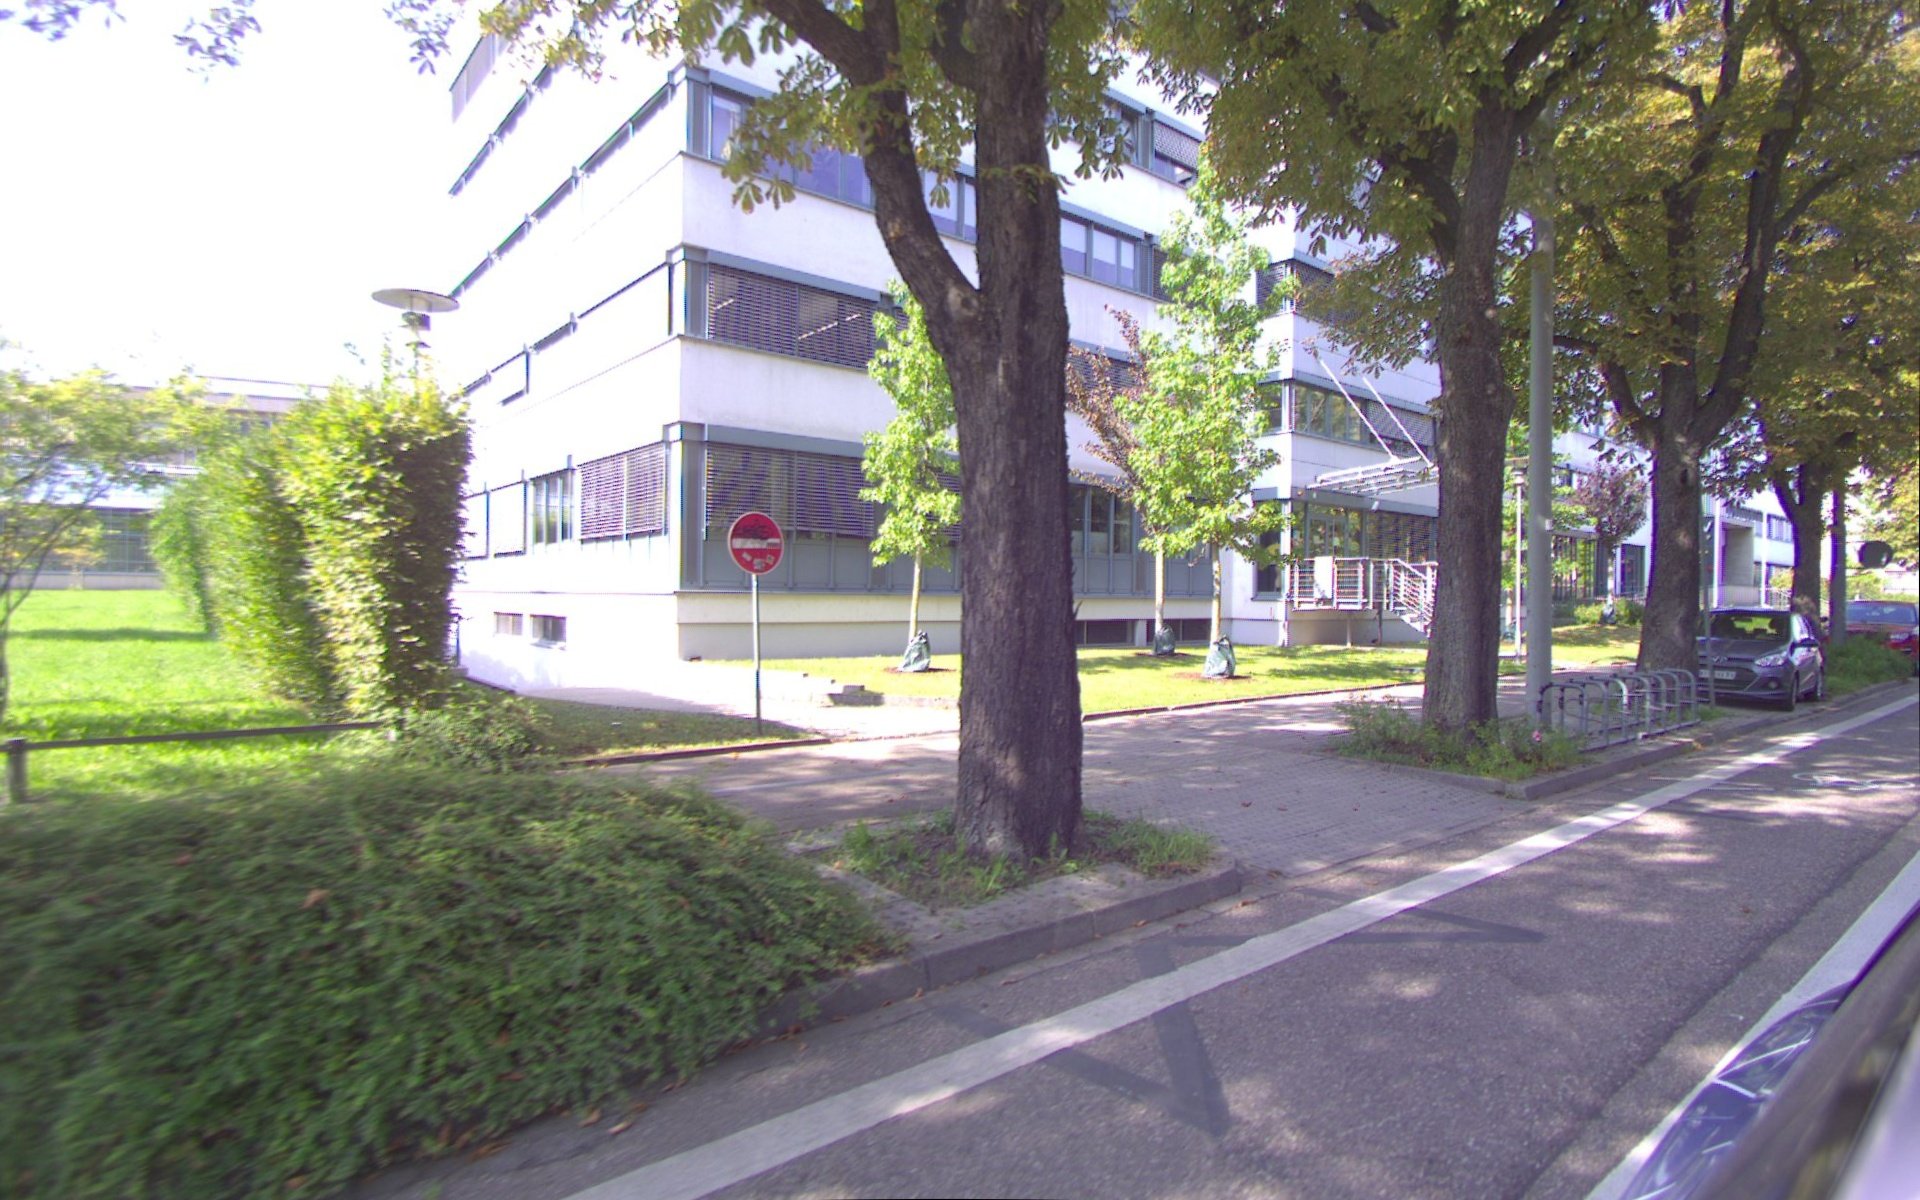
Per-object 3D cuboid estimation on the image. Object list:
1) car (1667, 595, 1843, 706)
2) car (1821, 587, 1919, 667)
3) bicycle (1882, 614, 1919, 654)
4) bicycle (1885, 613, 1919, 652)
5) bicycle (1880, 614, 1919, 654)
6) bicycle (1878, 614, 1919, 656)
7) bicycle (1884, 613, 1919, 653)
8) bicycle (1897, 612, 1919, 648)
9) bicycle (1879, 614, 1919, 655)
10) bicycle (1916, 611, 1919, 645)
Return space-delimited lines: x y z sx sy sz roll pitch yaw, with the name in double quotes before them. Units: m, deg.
"car" 12.607 0.702 15.981 3.503 1.459 1.565 0 3 -42
"car" 21.751 0.577 23.642 4.110 1.673 1.865 0 2 -41
"bicycle" 25.404 0.896 26.776 0.376 1.027 1.458 1 0 -42
"bicycle" 26.044 0.891 27.393 0.376 1.027 1.458 1 0 -42
"bicycle" 25.098 0.899 26.488 0.376 1.027 1.458 1 0 -42
"bicycle" 24.508 0.899 25.908 0.376 1.027 1.458 1 0 -42
"bicycle" 25.726 0.894 27.083 0.376 1.027 1.458 1 0 -42
"bicycle" 28.182 0.878 29.357 0.376 1.027 1.458 1 0 -42
"bicycle" 24.806 0.902 26.203 0.376 1.027 1.458 1 0 -42
"bicycle" 29.634 0.870 30.283 0.376 1.027 1.458 1 0 -42
